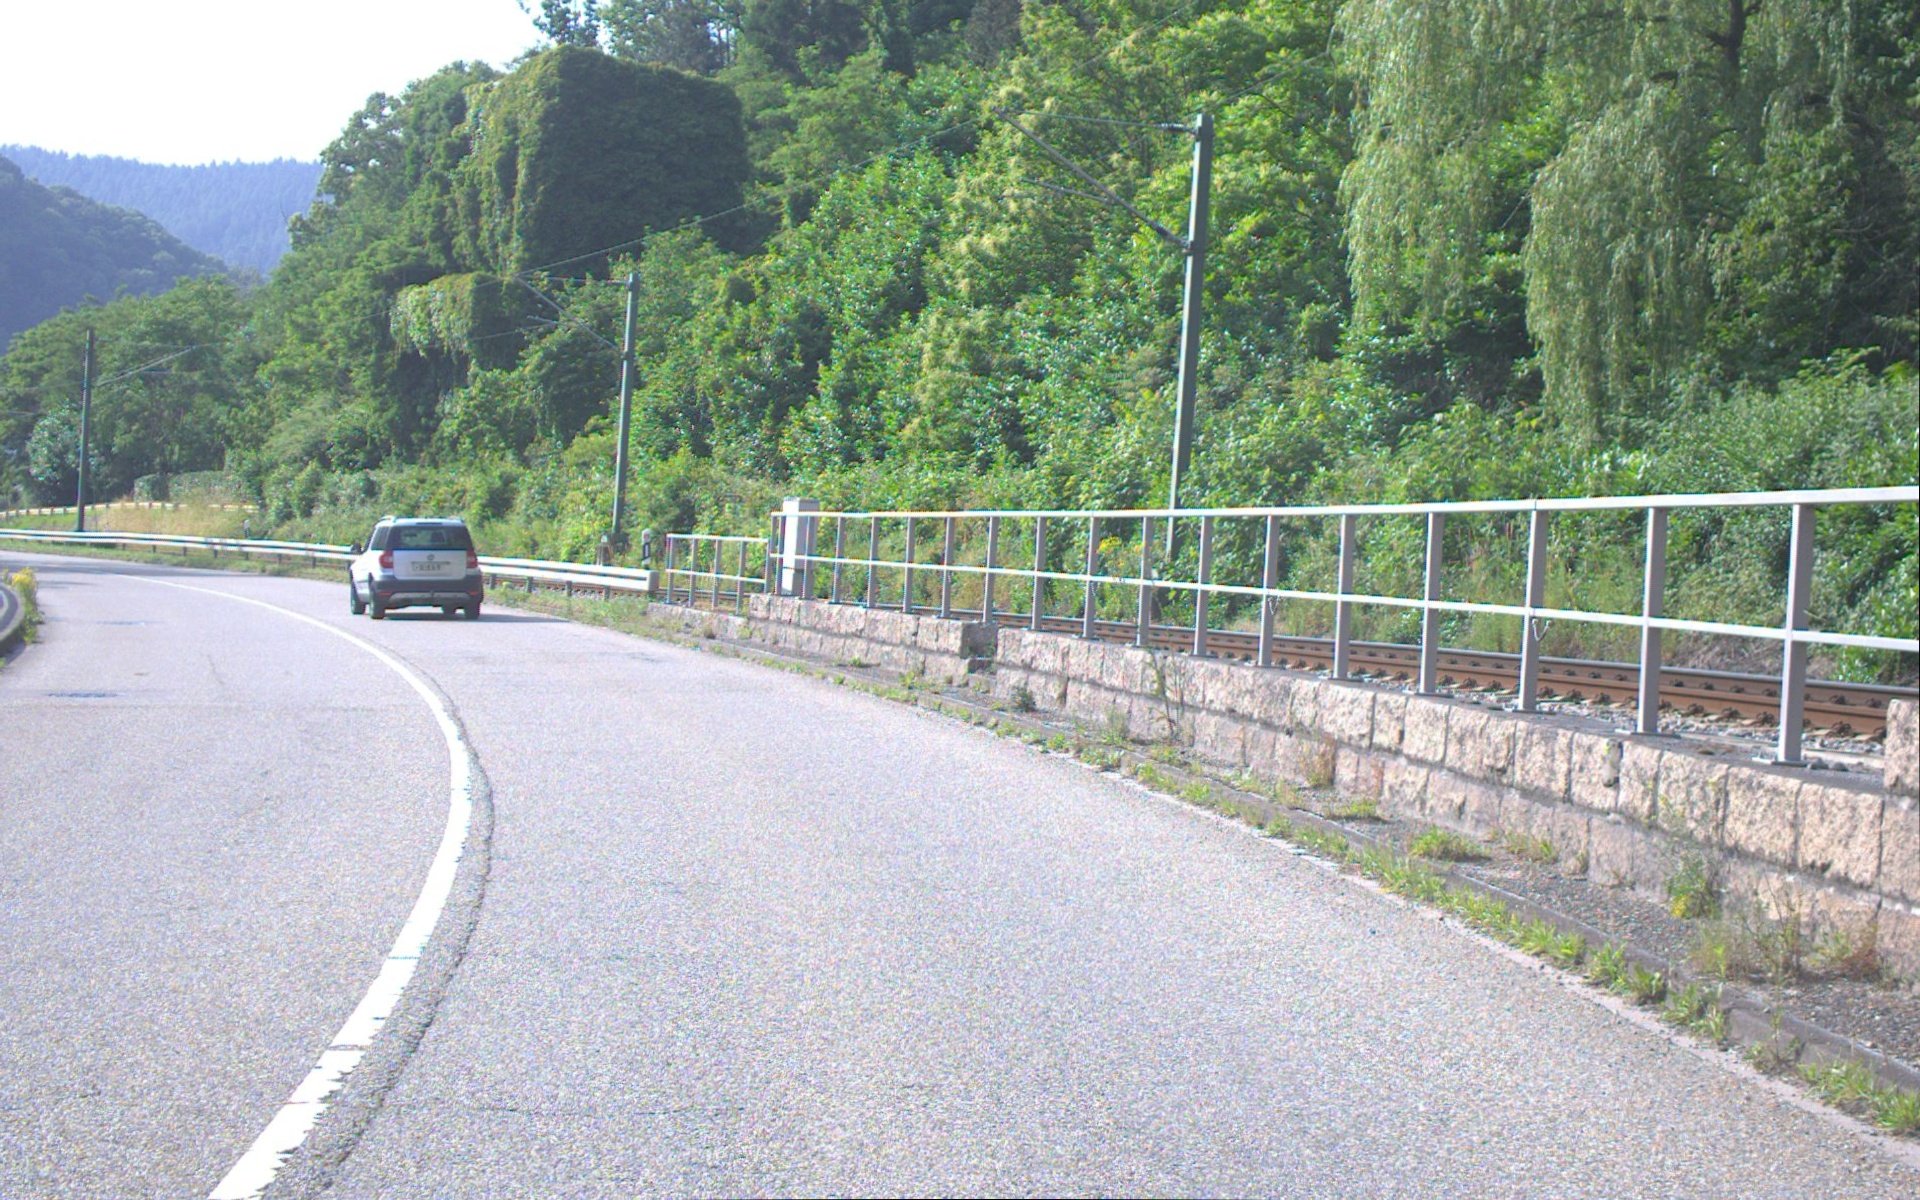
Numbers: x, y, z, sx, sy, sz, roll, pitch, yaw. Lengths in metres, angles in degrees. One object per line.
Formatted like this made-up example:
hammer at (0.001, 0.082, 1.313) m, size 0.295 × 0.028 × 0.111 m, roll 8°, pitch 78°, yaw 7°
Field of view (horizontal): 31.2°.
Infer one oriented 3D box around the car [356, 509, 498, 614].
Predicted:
car at (-8.834, -0.659, 56.765) m, size 1.872 × 1.650 × 4.001 m, roll 1°, pitch 1°, yaw -15°
